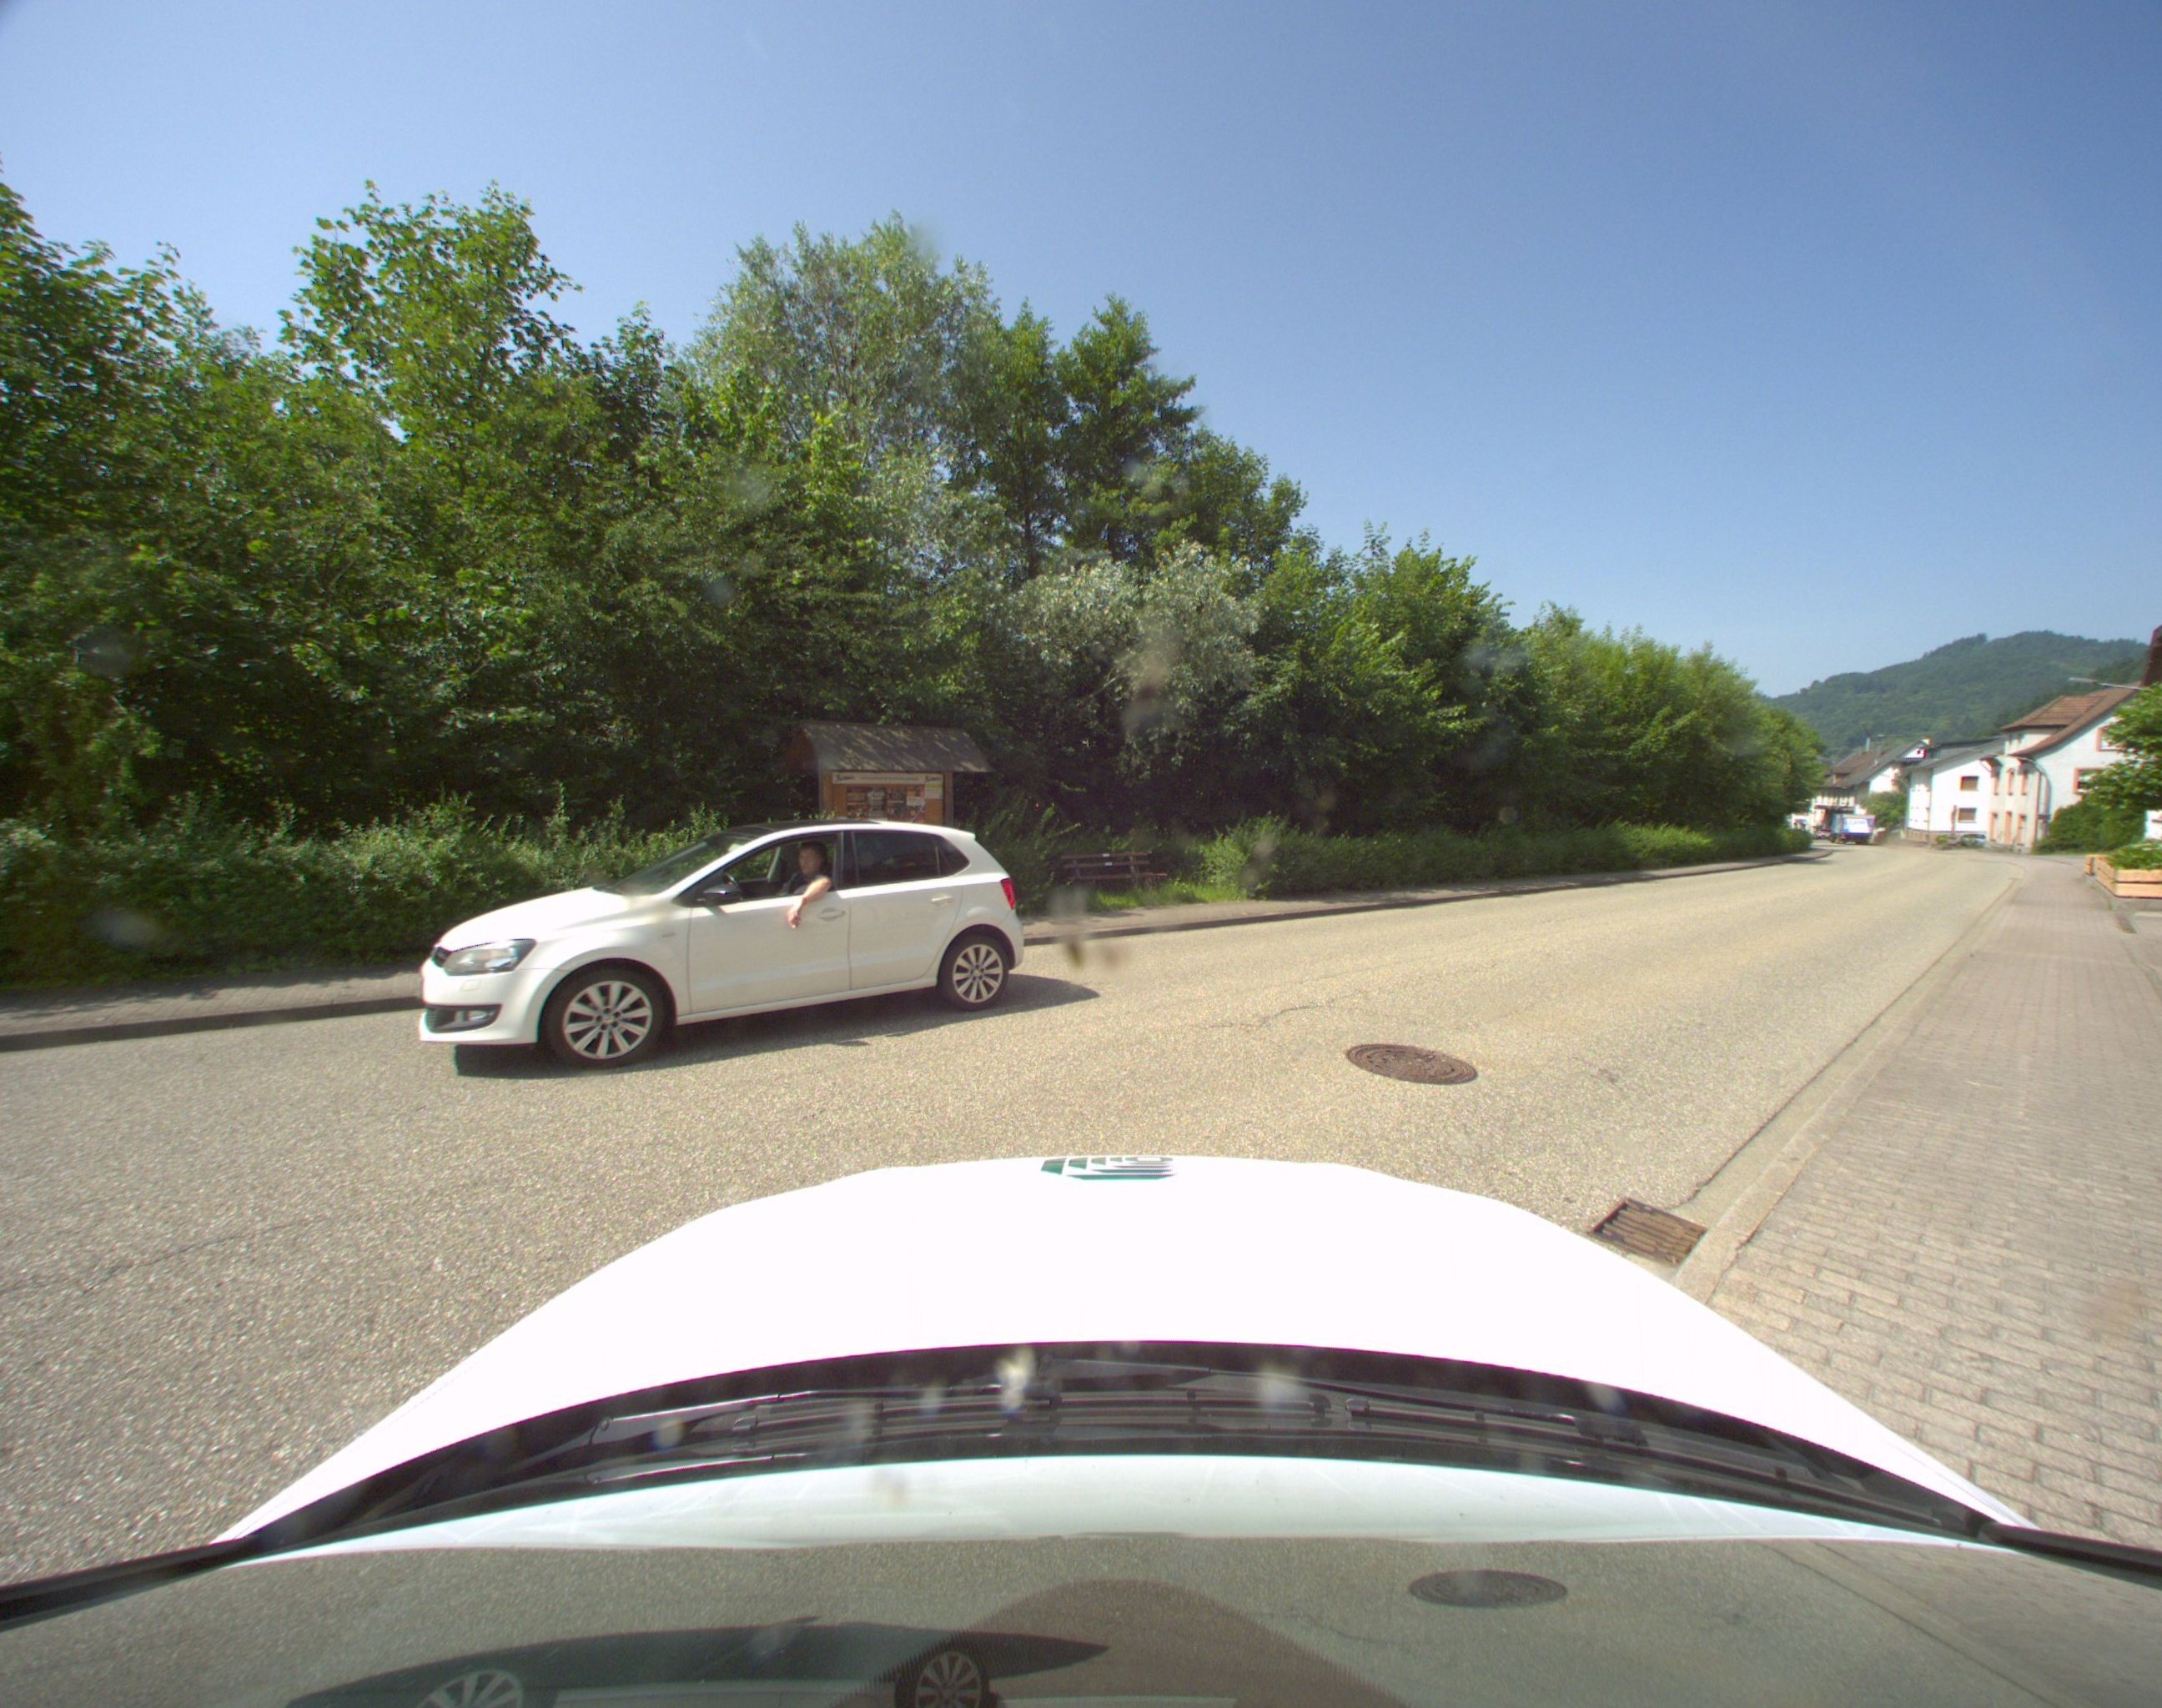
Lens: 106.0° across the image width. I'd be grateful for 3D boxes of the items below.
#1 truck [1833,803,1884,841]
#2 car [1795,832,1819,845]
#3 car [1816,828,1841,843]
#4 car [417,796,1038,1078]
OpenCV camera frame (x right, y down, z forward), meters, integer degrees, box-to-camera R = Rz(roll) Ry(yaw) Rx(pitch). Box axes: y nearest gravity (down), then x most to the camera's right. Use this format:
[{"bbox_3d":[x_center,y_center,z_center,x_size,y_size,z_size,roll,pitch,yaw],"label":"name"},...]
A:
[{"bbox_3d":[86.591,-3.466,90.845,3.330,3.782,8.493,-1,-1,39],"label":"truck"},{"bbox_3d":[110.038,-2.358,123.473,1.974,1.882,4.025,-1,-1,32],"label":"car"},{"bbox_3d":[100.260,-2.430,109.250,1.974,1.882,4.025,-1,-1,35],"label":"car"},{"bbox_3d":[-2.329,0.404,5.906,3.846,1.405,1.591,0,1,-40],"label":"car"}]
